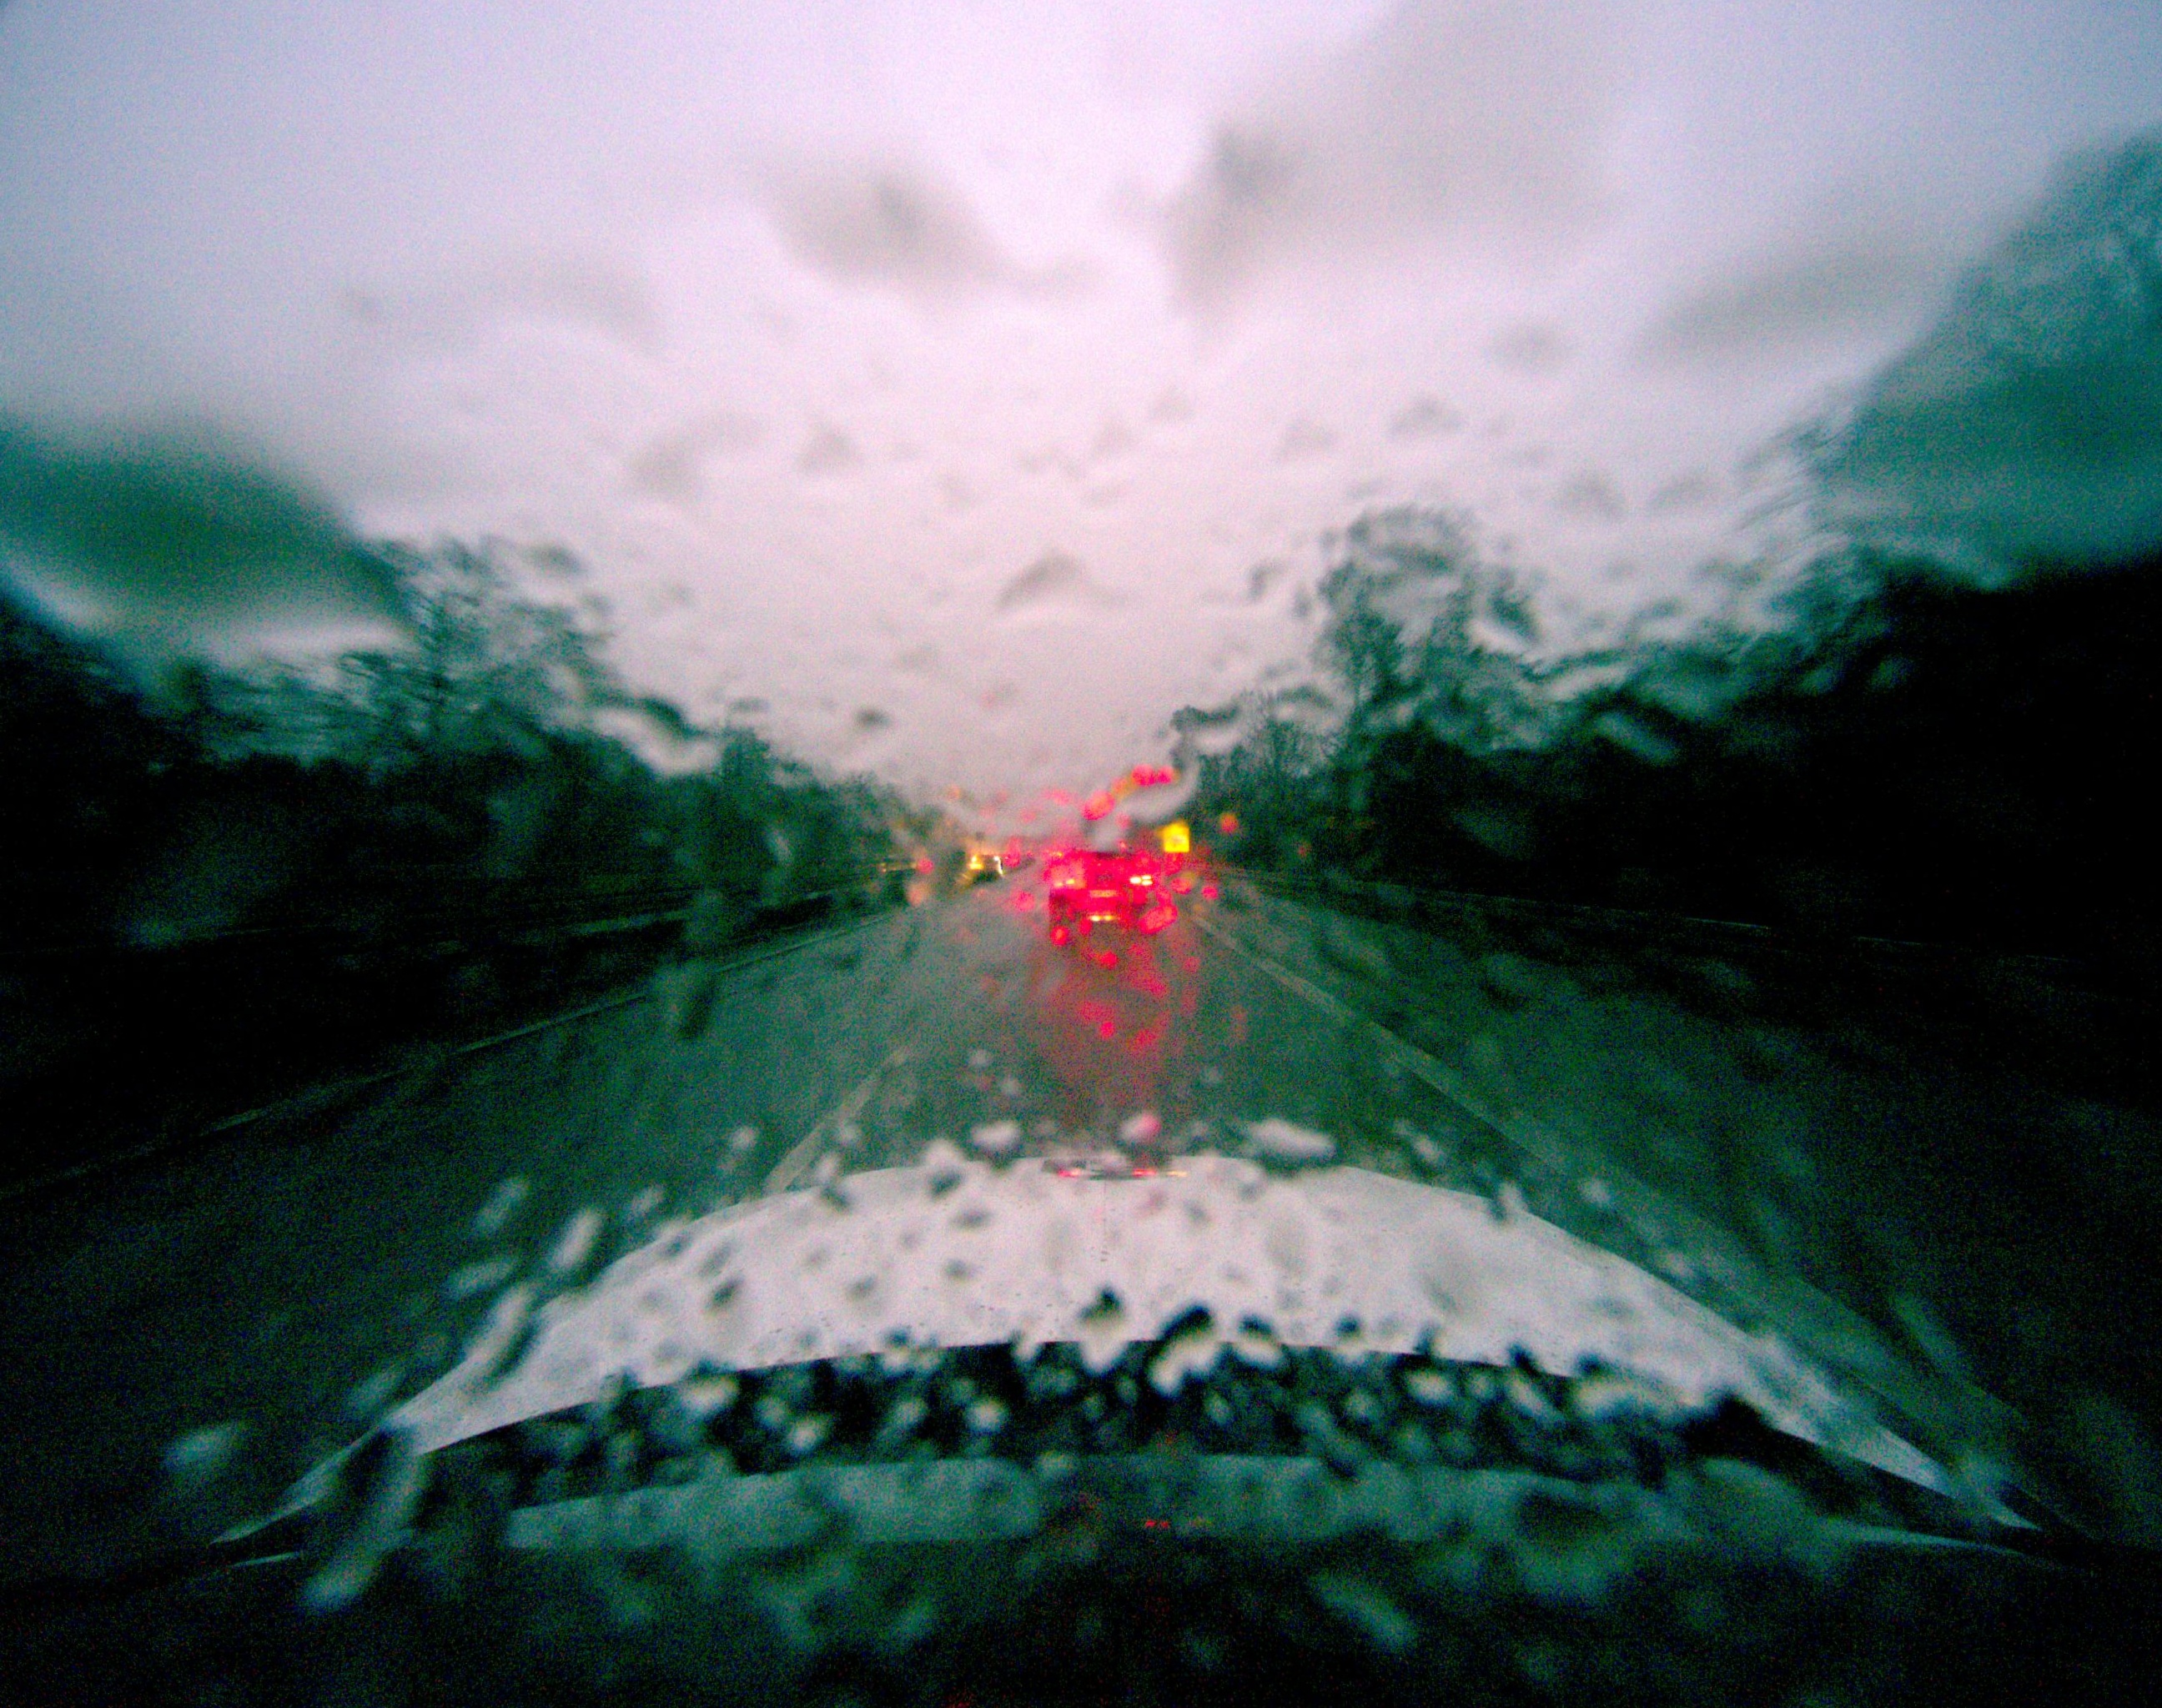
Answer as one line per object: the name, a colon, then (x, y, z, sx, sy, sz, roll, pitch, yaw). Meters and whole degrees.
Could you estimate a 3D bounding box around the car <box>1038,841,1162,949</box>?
car: (0.303, 0.666, 15.076, 1.986, 1.715, 3.829, -1, 0, 0)

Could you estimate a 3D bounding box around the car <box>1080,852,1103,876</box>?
car: (0.896, 0.855, 71.646, 1.987, 2.013, 3.999, -1, 0, 0)
